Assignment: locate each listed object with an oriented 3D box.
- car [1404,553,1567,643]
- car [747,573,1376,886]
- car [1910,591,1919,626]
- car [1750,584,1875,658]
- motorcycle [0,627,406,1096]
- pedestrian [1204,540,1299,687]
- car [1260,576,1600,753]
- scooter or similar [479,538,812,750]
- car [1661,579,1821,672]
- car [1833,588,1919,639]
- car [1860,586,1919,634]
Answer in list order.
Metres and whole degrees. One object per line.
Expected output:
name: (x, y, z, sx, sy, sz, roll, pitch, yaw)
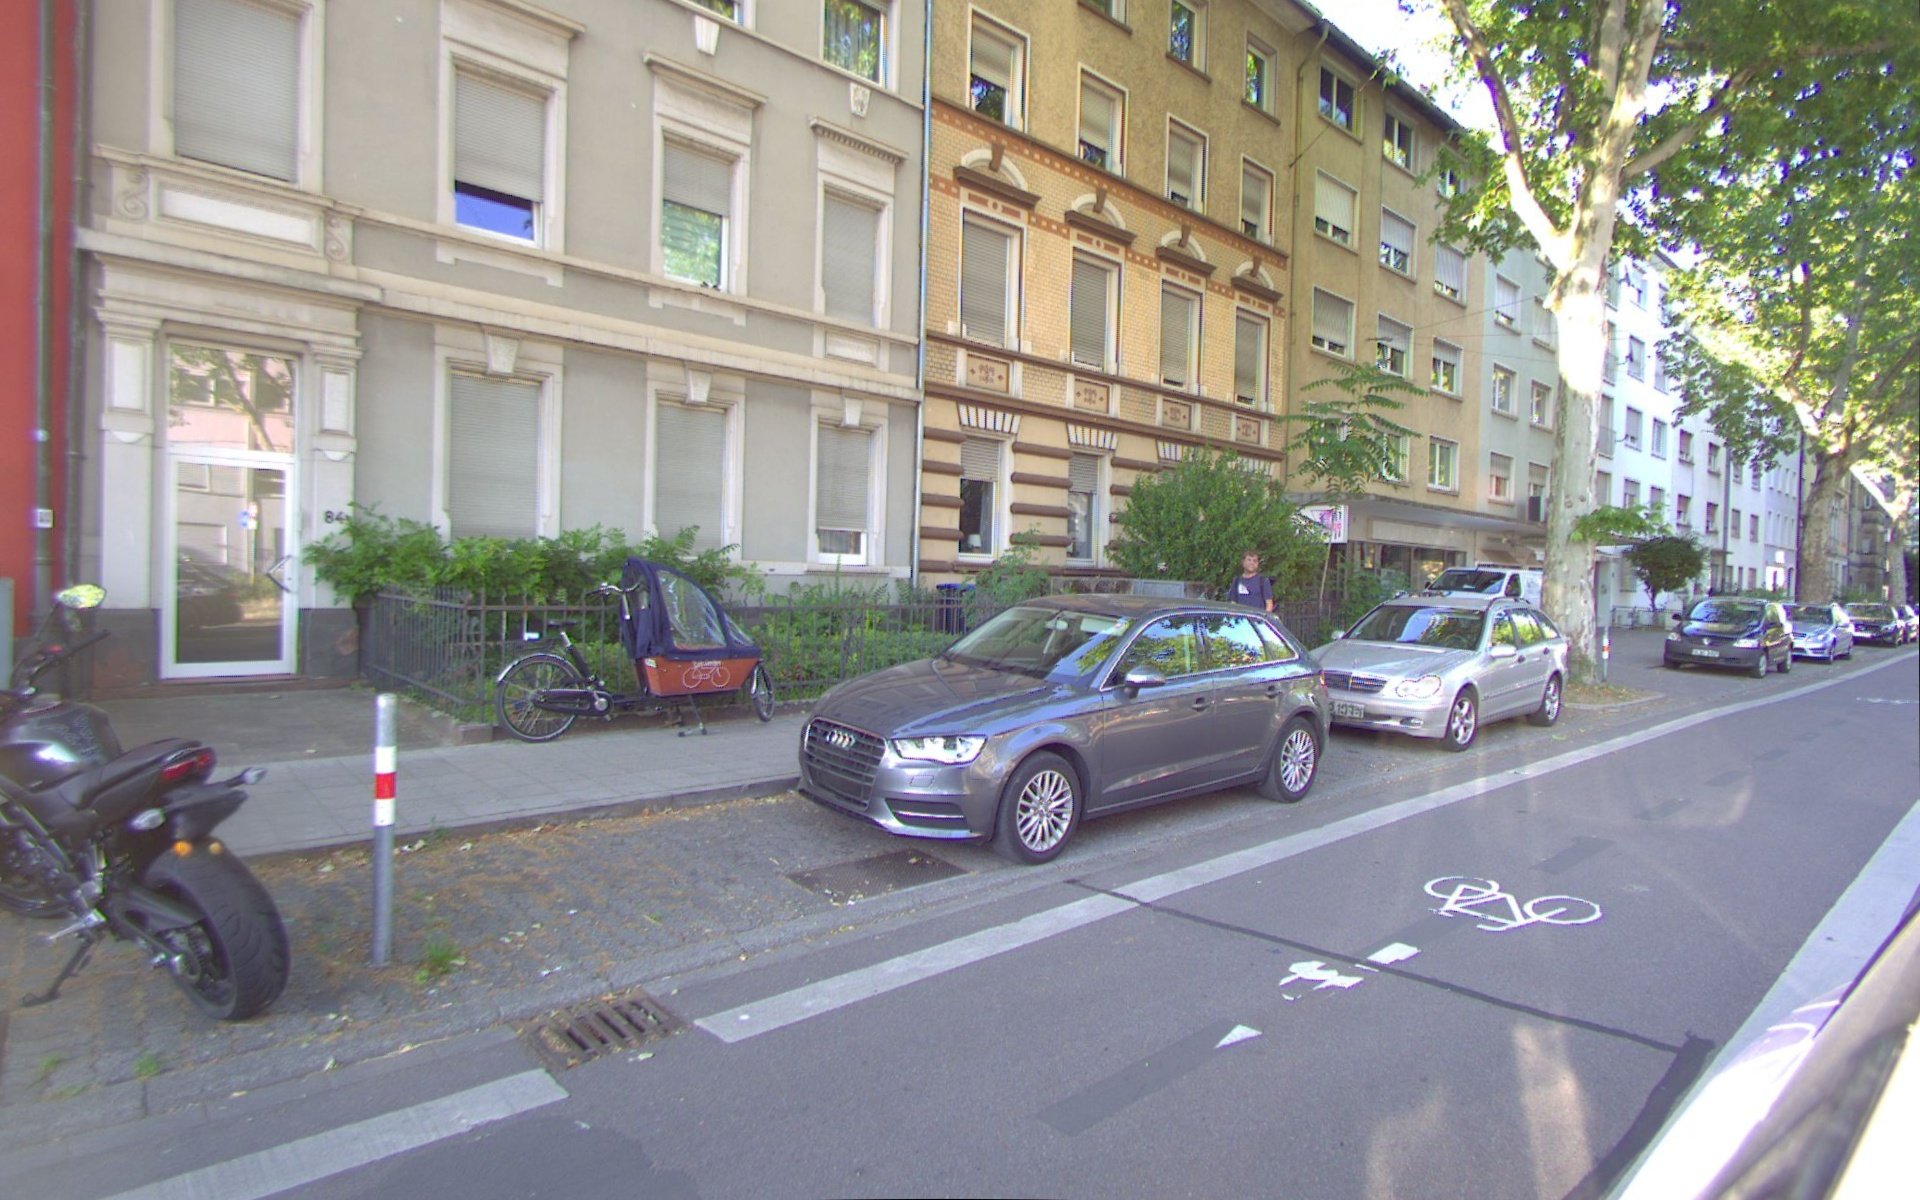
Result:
car: (12.776, -0.076, 24.476, 4.597, 1.897, 1.932, 0, 4, -42)
car: (0.909, 0.602, 6.953, 4.293, 1.418, 1.802, 0, 4, -41)
car: (46.691, 0.441, 48.116, 4.034, 1.628, 1.802, 0, 4, -42)
car: (21.797, 0.469, 25.816, 4.295, 1.628, 1.802, 0, 4, -42)
motorcycle: (-3.041, 0.755, 3.564, 2.188, 1.124, 0.659, 4, 2, 23)
pedestrian: (3.612, 0.142, 12.534, 0.802, 1.731, 0.728, -1, 4, -41)
car: (5.308, 0.545, 11.131, 4.436, 1.472, 1.801, 0, 4, -43)
scooter or similar: (-2.447, 0.294, 8.176, 2.500, 1.488, 0.666, 0, 2, -41)
car: (16.159, 0.449, 20.864, 4.295, 1.628, 1.802, 0, 4, -42)
car: (31.347, 0.422, 34.520, 4.295, 1.520, 1.802, 0, 4, -42)
car: (35.489, 0.351, 38.123, 4.295, 1.628, 1.802, 0, 4, -42)
